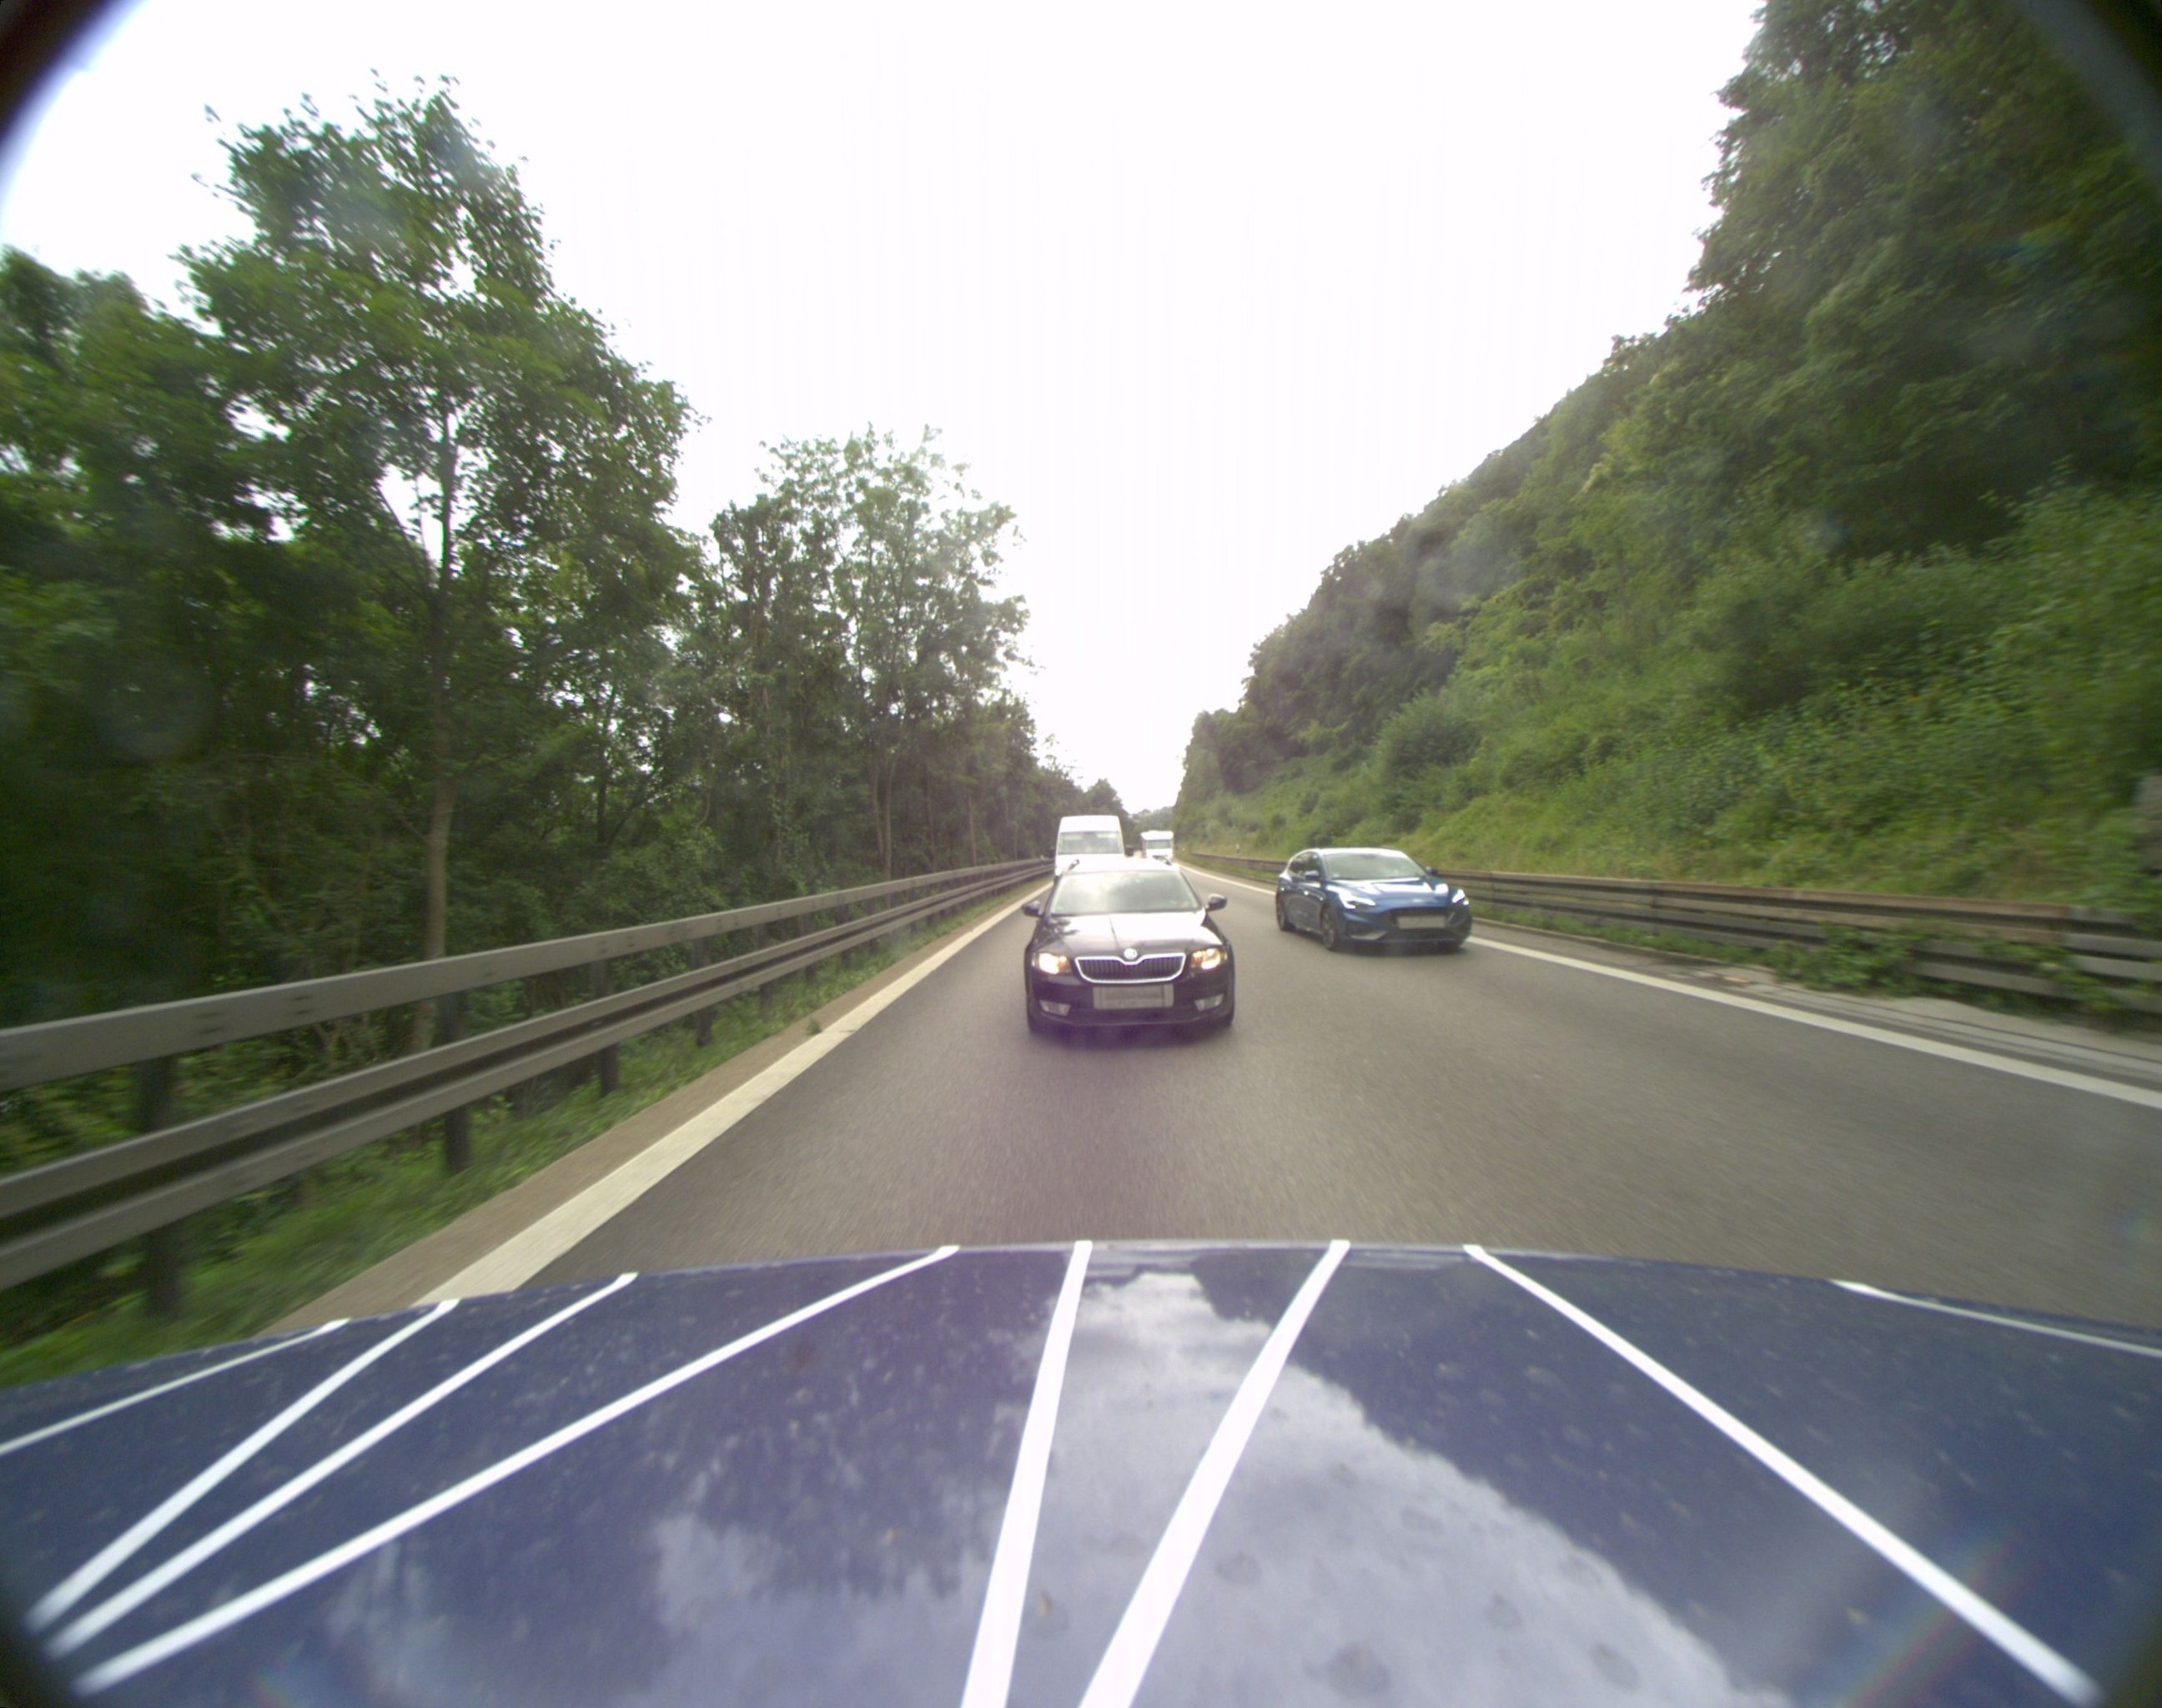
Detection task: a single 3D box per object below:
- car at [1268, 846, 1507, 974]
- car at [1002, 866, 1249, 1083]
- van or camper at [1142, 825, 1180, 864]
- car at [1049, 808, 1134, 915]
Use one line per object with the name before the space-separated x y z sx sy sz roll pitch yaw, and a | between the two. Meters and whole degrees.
car | 4.259 0.657 11.448 1.840 1.460 4.554 -2 1 1
car | 0.331 0.909 7.698 1.751 1.409 4.400 -2 1 0
van or camper | 5.838 -0.709 56.556 2.270 2.719 7.024 -1 1 2
car | 0.360 0.144 21.077 2.000 2.545 5.127 -2 1 2
